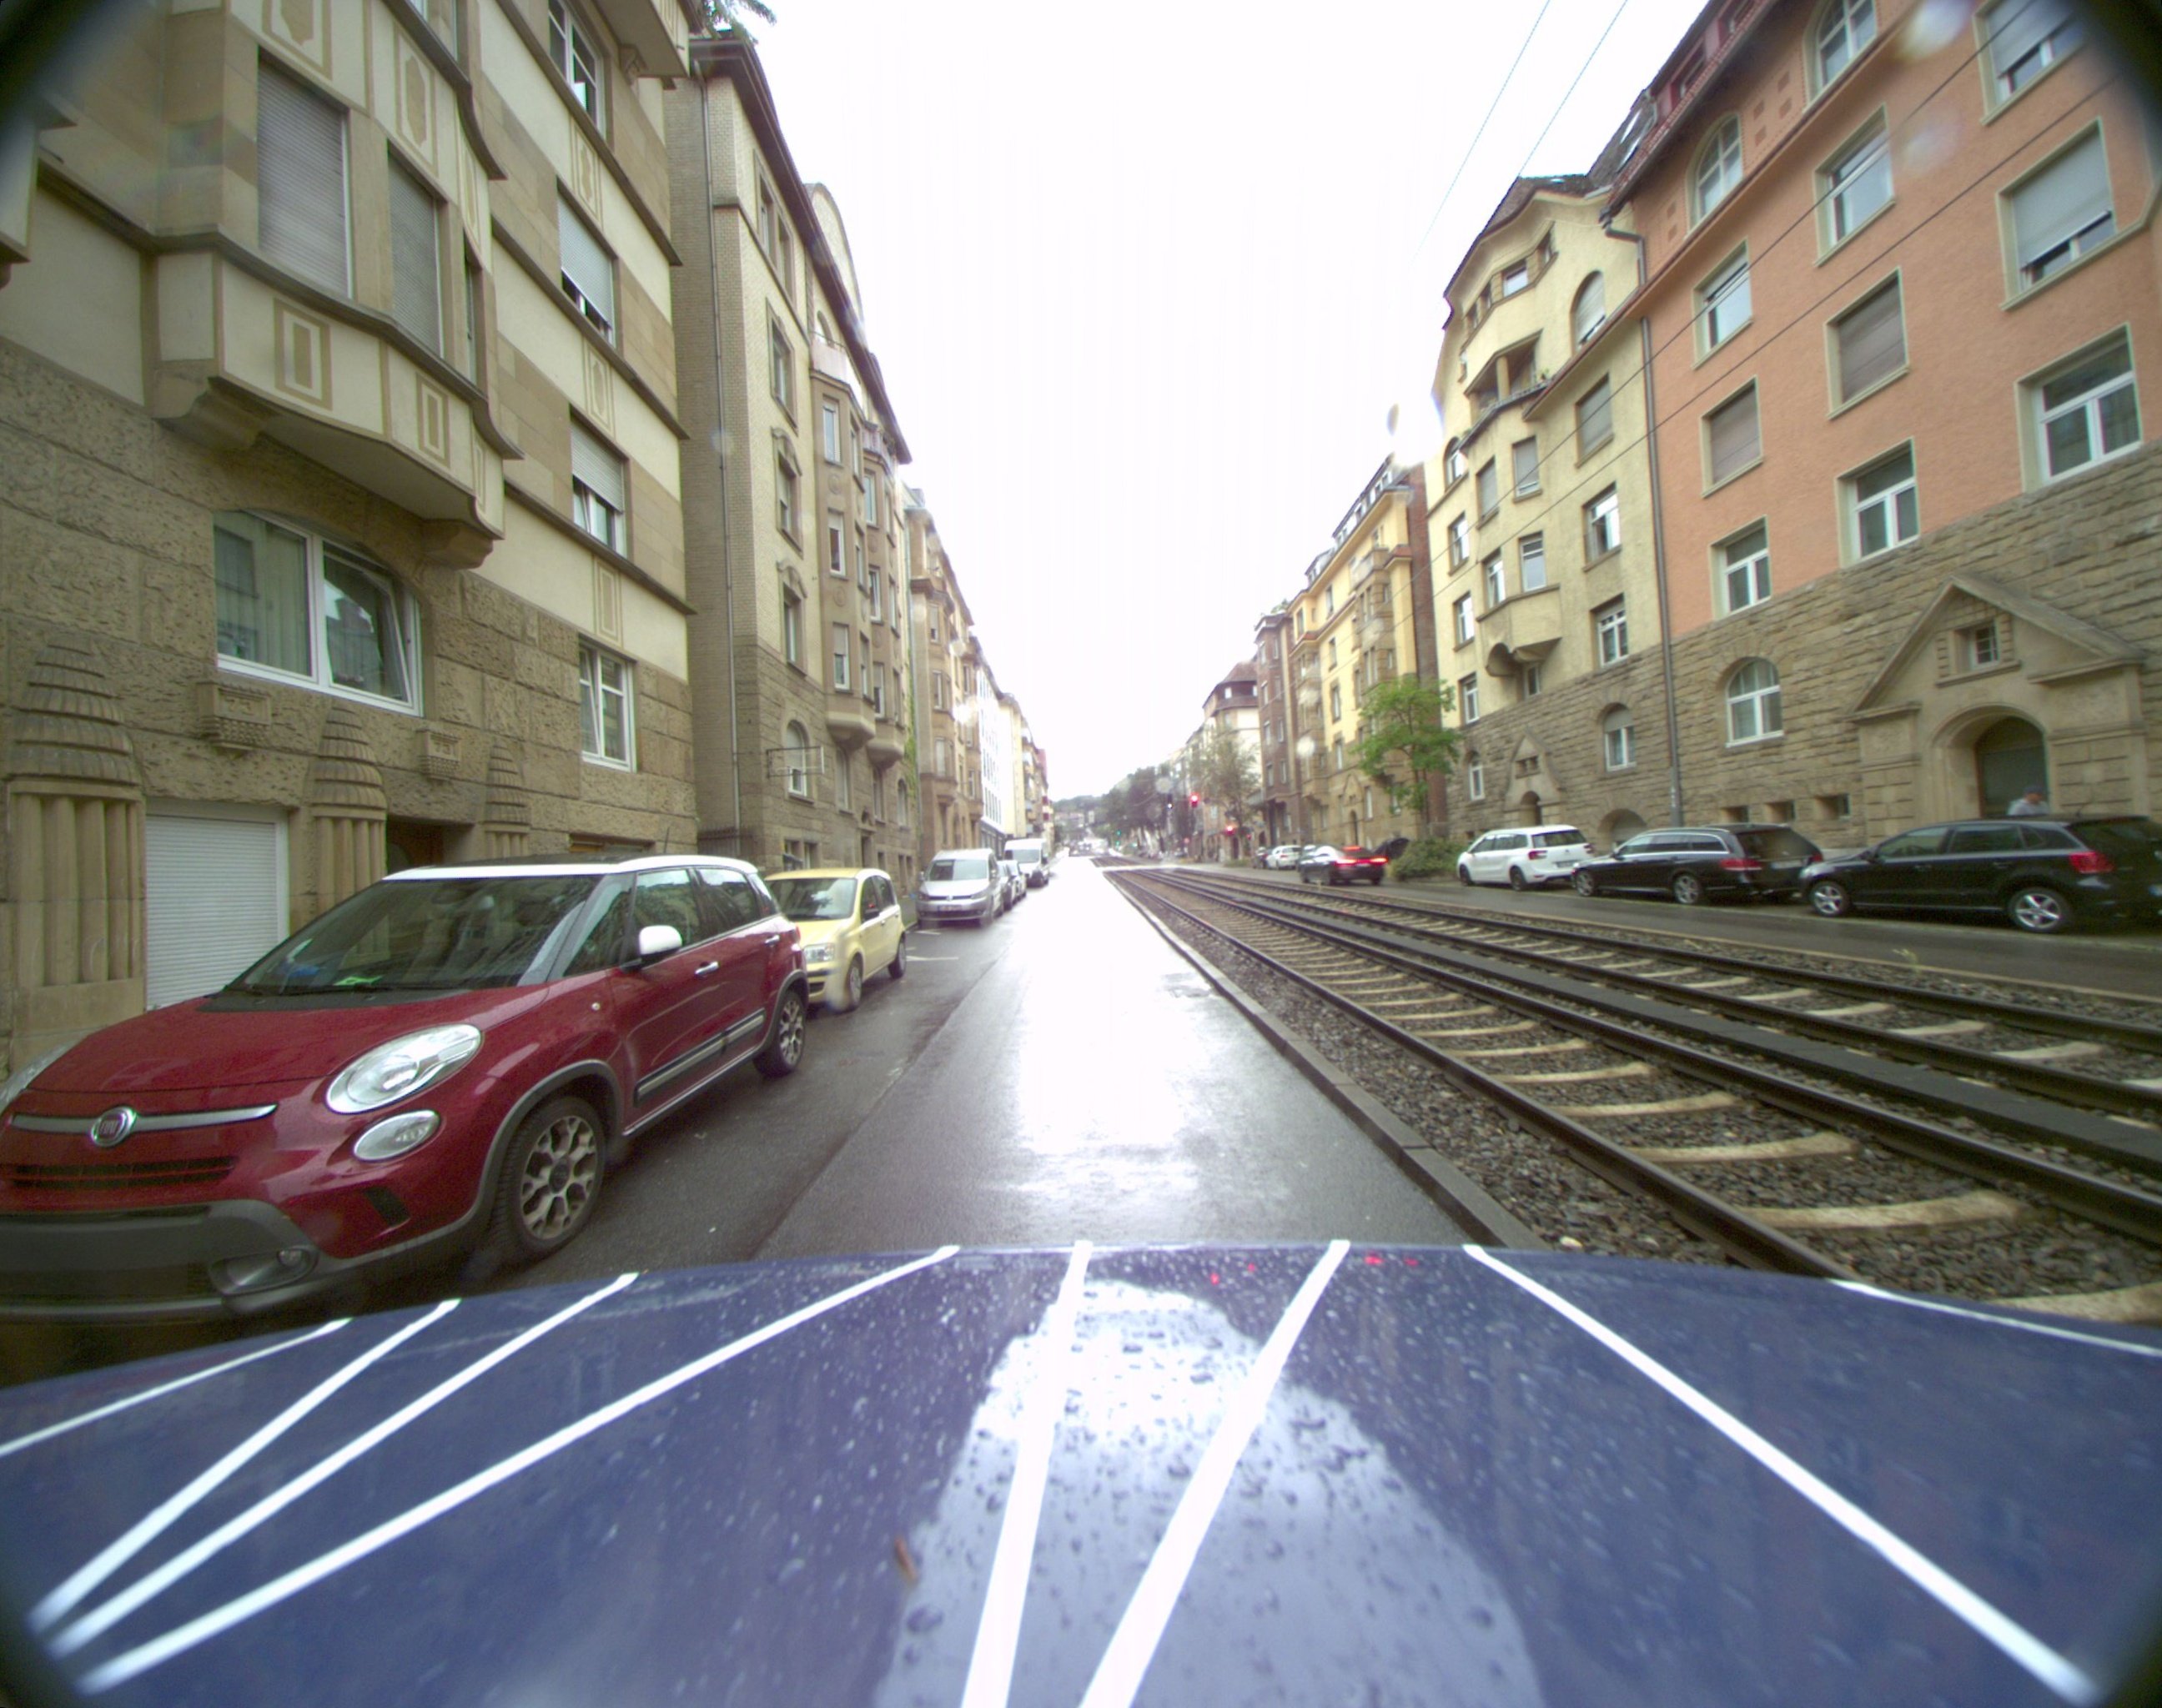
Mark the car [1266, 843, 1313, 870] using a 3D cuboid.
[{"bbox_3d":[12.460,0.137,45.653,1.771,1.433,4.031,-3,0,2],"label":"car"}]

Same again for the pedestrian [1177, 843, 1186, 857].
[{"bbox_3d":[15.009,-0.582,113.257,1.056,1.946,1.163,-3,1,2],"label":"pedestrian"}]

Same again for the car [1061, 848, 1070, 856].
[{"bbox_3d":[-3.889,-0.459,194.526,1.998,1.838,4.000,-3,0,1],"label":"car"}]

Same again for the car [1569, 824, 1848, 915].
[{"bbox_3d":[12.283,0.263,15.384,1.847,1.486,4.601,-3,0,1],"label":"car"}]

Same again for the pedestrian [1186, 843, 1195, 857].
[{"bbox_3d":[16.318,-0.630,113.244,1.056,1.946,1.163,-3,1,2],"label":"pedestrian"}]

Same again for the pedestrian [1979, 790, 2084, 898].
[{"bbox_3d":[15.029,-0.158,12.037,0.701,1.633,0.765,-2,1,1],"label":"pedestrian"}]

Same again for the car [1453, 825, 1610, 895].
[{"bbox_3d":[12.264,0.151,21.046,1.867,1.646,4.146,-3,0,1],"label":"car"}]

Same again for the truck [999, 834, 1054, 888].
[{"bbox_3d":[-2.734,0.343,39.943,2.235,2.521,6.143,-3,0,1],"label":"truck"}]

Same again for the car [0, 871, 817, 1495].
[{"bbox_3d":[-3.041,0.975,4.090,1.807,1.590,3.999,-3,0,-1],"label":"car"}]

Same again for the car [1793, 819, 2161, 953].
[{"bbox_3d":[12.520,0.330,10.466,1.935,1.488,3.642,-2,1,-2],"label":"car"}]

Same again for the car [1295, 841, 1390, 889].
[{"bbox_3d":[9.493,0.363,28.058,1.807,1.514,4.964,-2,0,1],"label":"car"}]

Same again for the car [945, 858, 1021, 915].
[{"bbox_3d":[-2.974,0.938,23.814,1.999,1.521,3.999,-3,0,-3],"label":"car"}]

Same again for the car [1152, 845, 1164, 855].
[{"bbox_3d":[12.820,-0.612,126.835,1.657,1.589,3.775,-3,0,1],"label":"car"}]

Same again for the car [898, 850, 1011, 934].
[{"bbox_3d":[-3.020,0.847,19.197,1.968,1.792,4.459,-3,0,1],"label":"car"}]

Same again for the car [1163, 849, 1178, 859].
[{"bbox_3d":[12.556,-0.069,106.383,1.583,1.303,3.845,-3,0,1],"label":"car"}]

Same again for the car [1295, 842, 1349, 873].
[{"bbox_3d":[12.493,0.148,39.614,1.678,1.433,3.845,-4,1,3],"label":"car"}]

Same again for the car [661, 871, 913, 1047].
[{"bbox_3d":[-3.198,1.038,9.039,1.580,1.520,3.578,-3,0,-1],"label":"car"}]

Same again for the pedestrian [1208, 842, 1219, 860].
[{"bbox_3d":[15.179,-0.367,87.142,1.056,1.946,1.163,-3,1,2],"label":"pedestrian"}]

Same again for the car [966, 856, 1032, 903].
[{"bbox_3d":[-2.963,0.881,28.314,1.891,1.521,3.929,-3,0,1],"label":"car"}]

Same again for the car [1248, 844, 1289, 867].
[{"bbox_3d":[12.470,0.085,50.747,1.771,1.433,3.845,-3,0,1],"label":"car"}]

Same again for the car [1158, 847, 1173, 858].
[{"bbox_3d":[12.852,-0.256,115.365,1.771,1.507,3.845,-3,0,1],"label":"car"}]

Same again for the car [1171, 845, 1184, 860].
[{"bbox_3d":[12.656,-0.215,99.545,1.583,1.669,3.790,-3,2,7],"label":"car"}]

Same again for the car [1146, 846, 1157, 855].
[{"bbox_3d":[12.416,-0.611,133.704,1.632,1.537,3.801,-3,0,1],"label":"car"}]

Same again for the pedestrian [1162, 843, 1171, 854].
[{"bbox_3d":[15.821,-1.014,141.028,1.380,1.946,1.379,-3,1,2],"label":"pedestrian"}]
